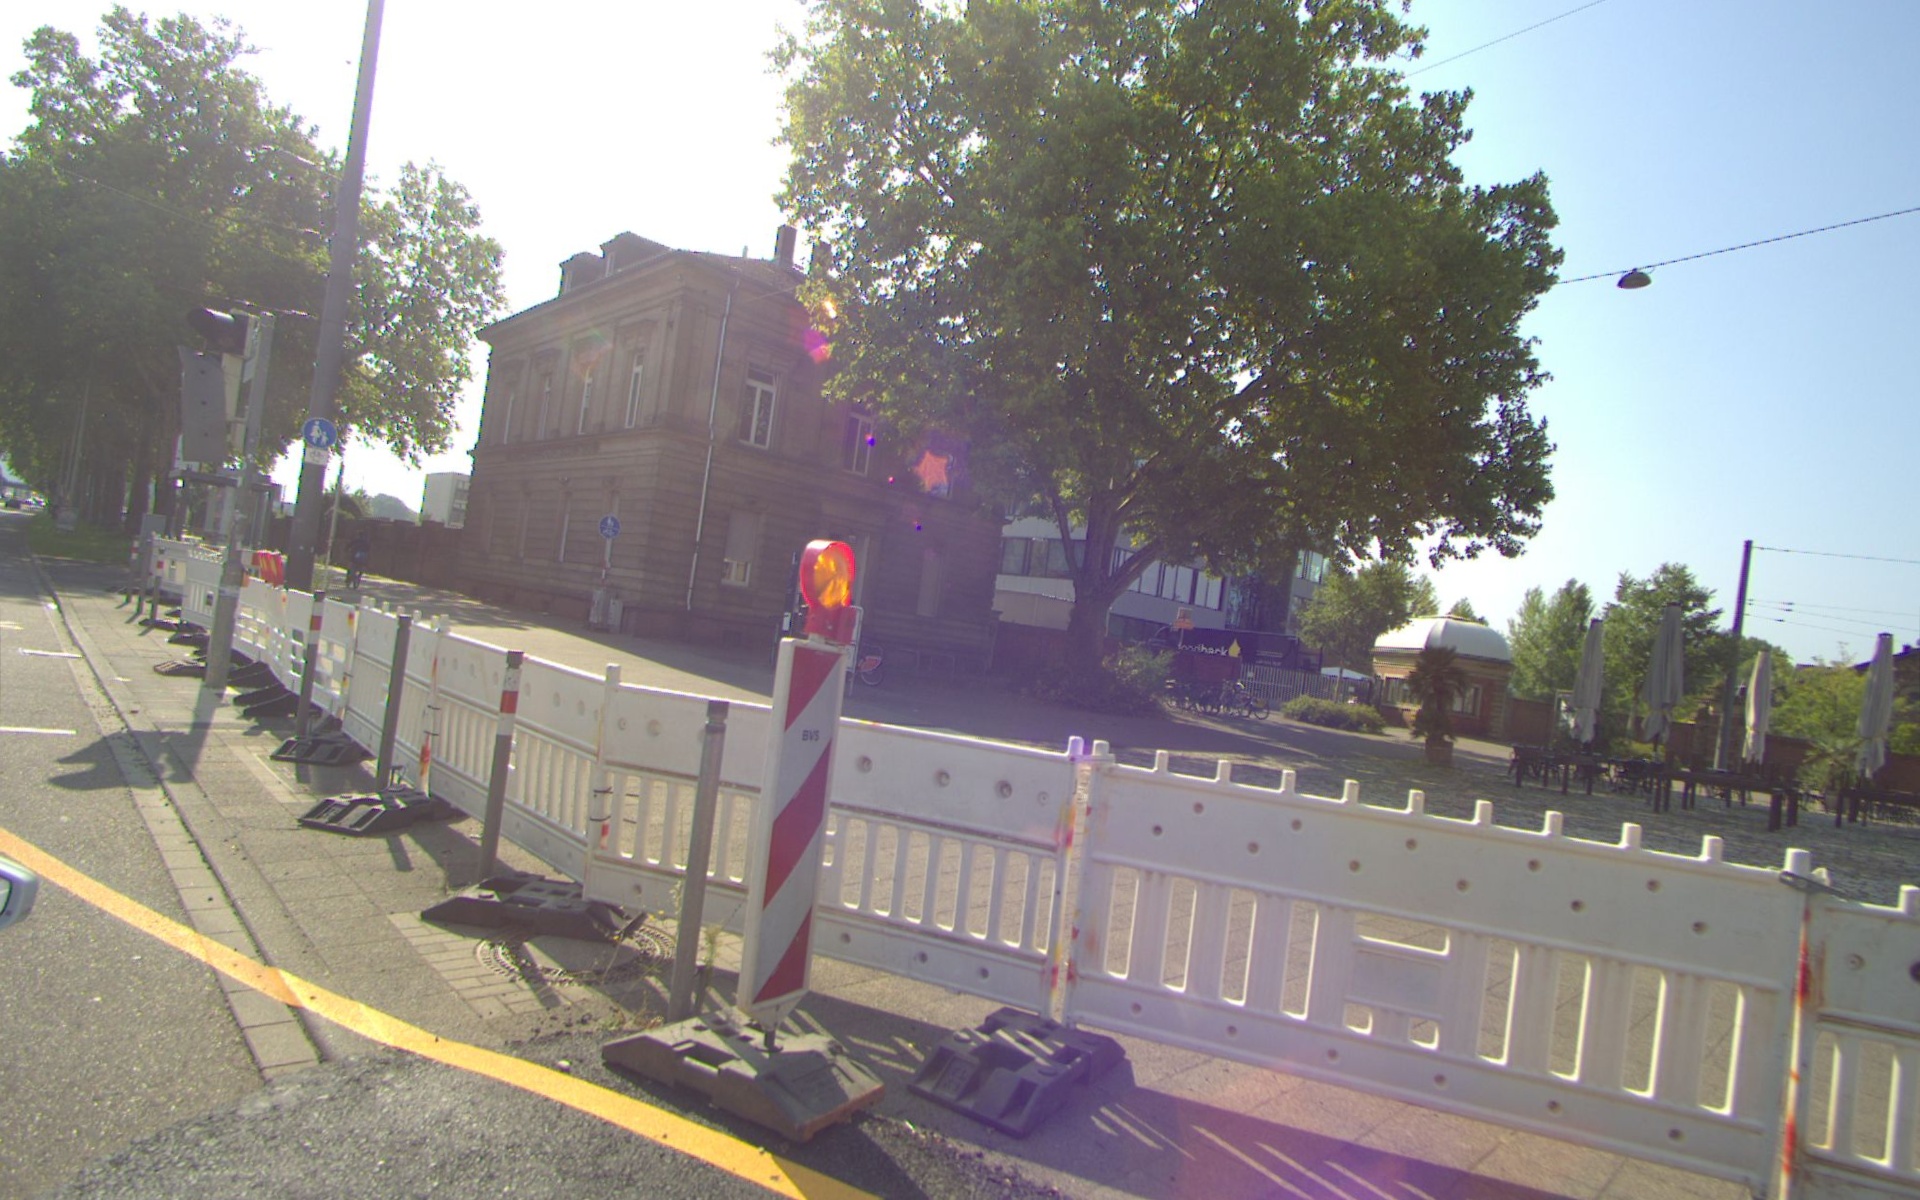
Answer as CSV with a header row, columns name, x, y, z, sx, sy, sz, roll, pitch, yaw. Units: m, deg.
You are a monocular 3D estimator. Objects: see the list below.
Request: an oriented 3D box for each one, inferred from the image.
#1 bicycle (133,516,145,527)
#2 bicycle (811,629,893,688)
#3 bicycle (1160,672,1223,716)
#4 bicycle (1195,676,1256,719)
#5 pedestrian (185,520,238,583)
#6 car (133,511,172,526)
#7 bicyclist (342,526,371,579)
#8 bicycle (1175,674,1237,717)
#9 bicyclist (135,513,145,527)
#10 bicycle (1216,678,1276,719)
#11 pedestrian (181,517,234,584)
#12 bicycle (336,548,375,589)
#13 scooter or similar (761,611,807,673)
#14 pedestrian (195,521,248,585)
name,x,y,z,sx,sy,sz,roll,pitch,yaw
bicycle,-81.316,-7.784,99.654,0.679,1.018,2.190,6,1,-43
bicycle,-2.478,1.330,22.962,1.786,1.012,0.492,10,2,28
bicycle,7.293,2.964,31.770,1.833,1.102,0.490,7,0,45
bicycle,8.732,3.202,33.145,1.833,1.102,0.490,7,0,45
pedestrian,-16.598,-1.079,22.301,0.739,1.276,0.604,9,-2,-43
car,-110.507,-11.130,137.726,3.978,1.391,1.976,10,-3,-43
bicyclist,-18.726,-1.466,31.211,0.588,1.558,0.468,8,1,44
bicycle,7.944,3.081,32.491,1.833,1.102,0.490,7,0,45
bicyclist,-81.287,-7.914,99.731,0.667,1.292,0.719,6,1,-44
bicycle,9.700,3.347,34.197,1.833,1.102,0.530,7,0,45
pedestrian,-17.044,-1.120,22.786,0.748,1.381,0.604,9,-2,-43
bicycle,-18.749,-0.991,31.170,1.833,1.102,0.490,7,0,45
scooter or similar,-3.977,0.942,22.645,0.423,1.243,1.161,7,1,-35
pedestrian,-15.998,-1.018,21.795,0.739,1.276,0.604,9,-2,-43
